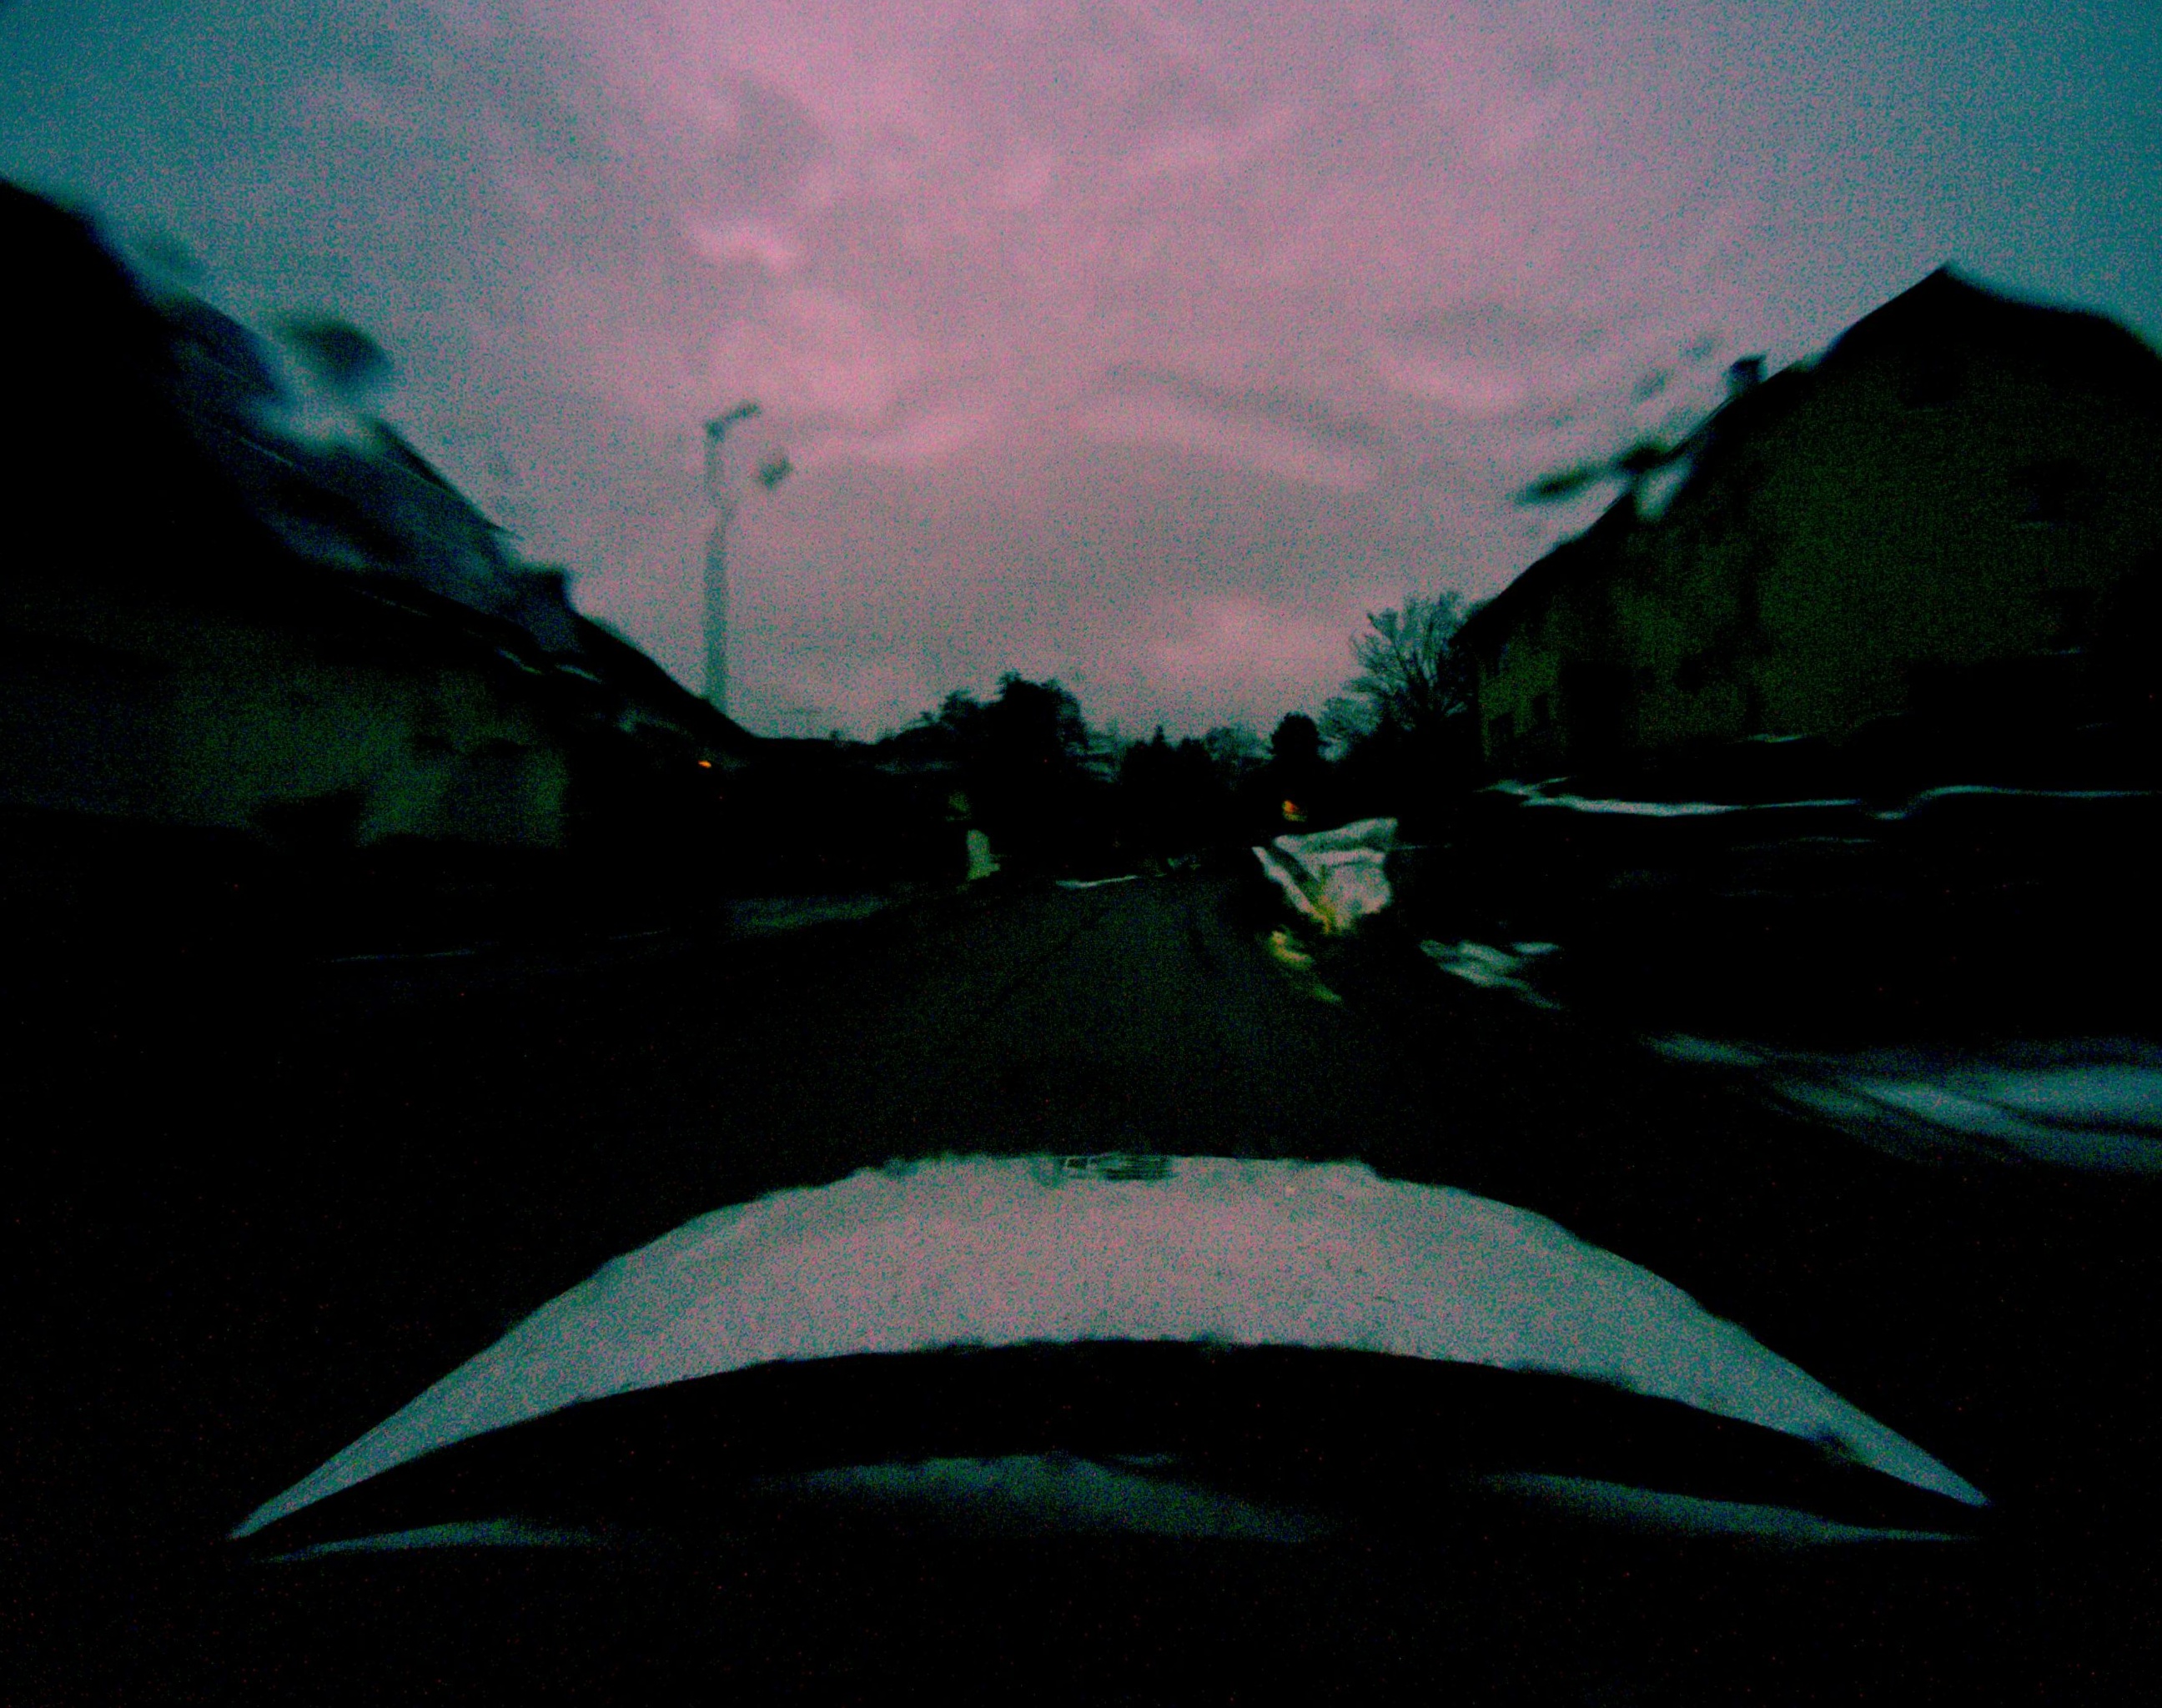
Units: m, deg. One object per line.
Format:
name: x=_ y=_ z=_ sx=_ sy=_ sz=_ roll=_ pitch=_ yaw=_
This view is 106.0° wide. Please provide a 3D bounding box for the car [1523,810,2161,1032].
car: x=6.640 y=0.488 z=7.052 sx=4.487 sy=1.443 sz=2.001 roll=-3 pitch=0 yaw=2
